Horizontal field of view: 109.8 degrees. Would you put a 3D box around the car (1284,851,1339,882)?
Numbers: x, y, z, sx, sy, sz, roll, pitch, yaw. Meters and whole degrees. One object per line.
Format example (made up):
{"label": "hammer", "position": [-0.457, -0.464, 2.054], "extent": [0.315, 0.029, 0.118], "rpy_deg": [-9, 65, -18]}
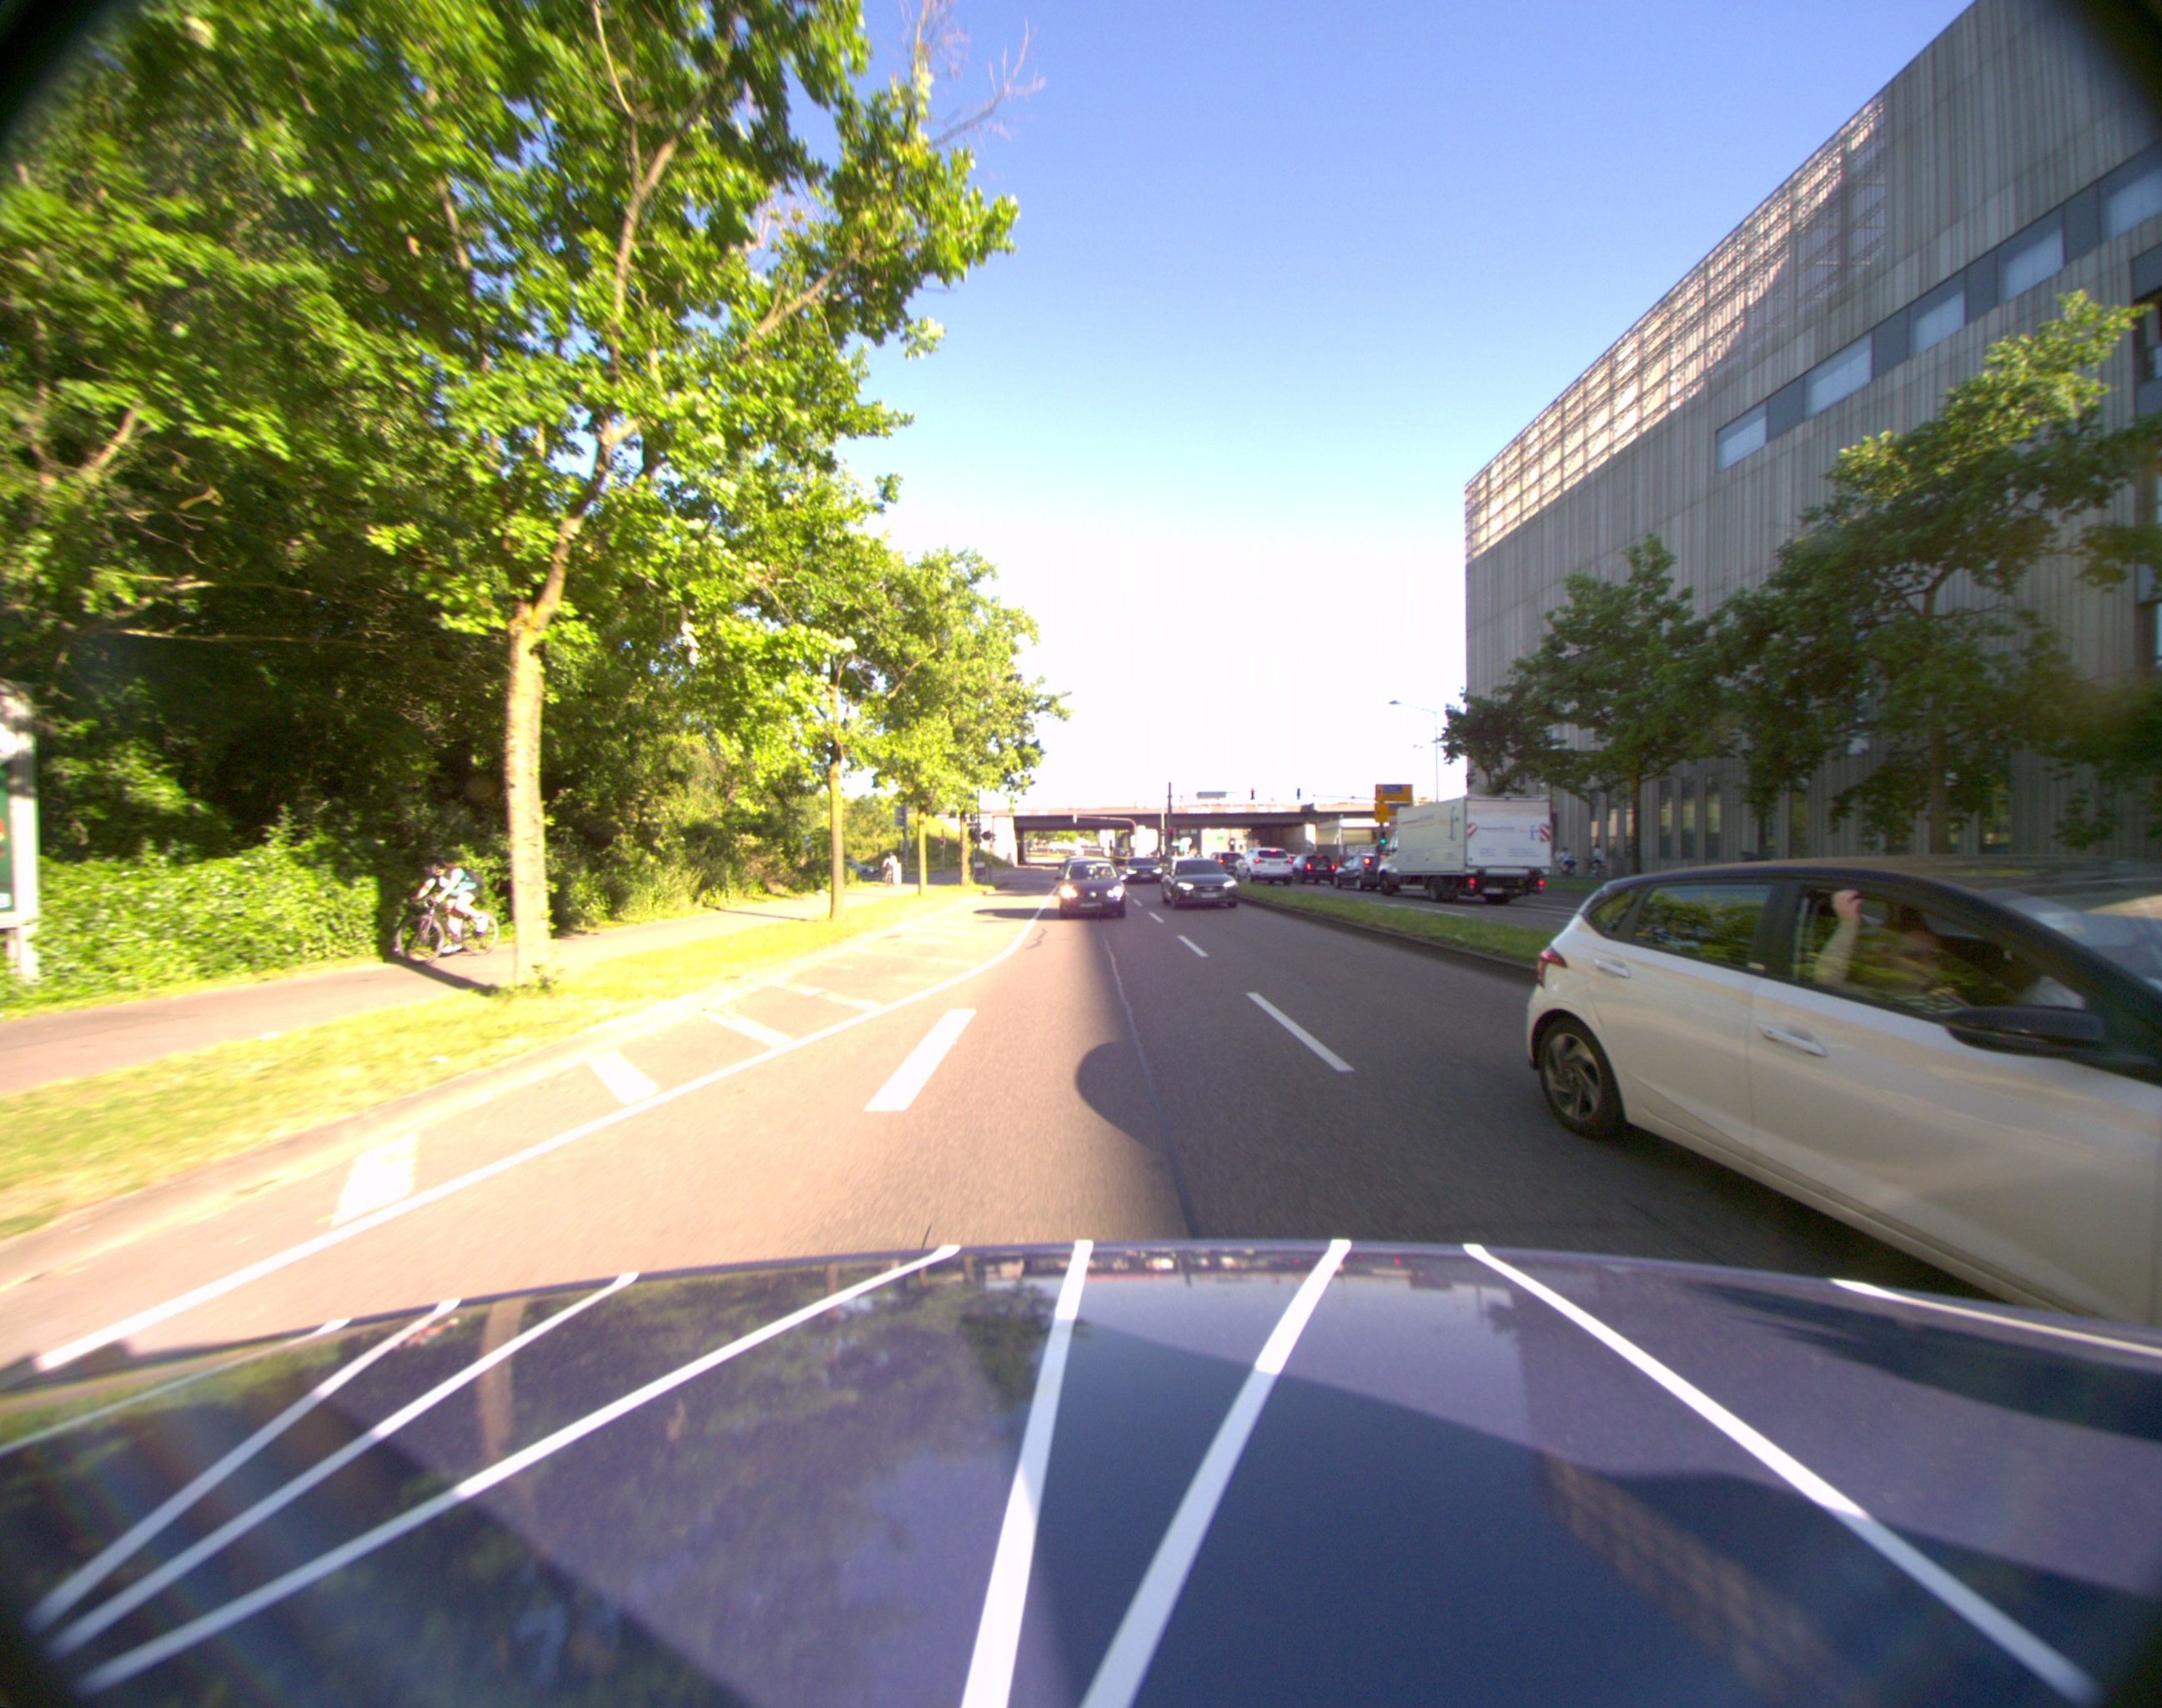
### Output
{"label": "car", "position": [11.330, 0.587, 37.522], "extent": [1.624, 1.461, 3.639], "rpy_deg": [1, 0, 1]}

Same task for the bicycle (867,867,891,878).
{"label": "bicycle", "position": [-12.859, 1.177, 48.346], "extent": [0.844, 0.618, 2.190], "rpy_deg": [1, -1, -34]}

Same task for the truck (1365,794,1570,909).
{"label": "truck", "position": [11.381, -0.099, 23.319], "extent": [2.693, 2.944, 7.113], "rpy_deg": [1, 1, 1]}

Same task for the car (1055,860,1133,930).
{"label": "car", "position": [0.290, 0.929, 18.944], "extent": [1.702, 1.474, 4.052], "rpy_deg": [-2, 0, 0]}

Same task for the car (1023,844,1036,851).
{"label": "car", "position": [-13.506, -1.746, 199.264], "extent": [1.819, 1.687, 3.990], "rpy_deg": [-3, 1, -33]}

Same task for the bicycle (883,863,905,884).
{"label": "bicycle", "position": [-9.207, 0.960, 37.385], "extent": [0.573, 0.986, 2.046], "rpy_deg": [-1, 0, 0]}

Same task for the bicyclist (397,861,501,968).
{"label": "bicyclist", "position": [-9.470, 0.872, 11.434], "extent": [0.687, 1.513, 1.035], "rpy_deg": [-1, 1, -3]}

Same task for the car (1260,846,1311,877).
{"label": "car", "position": [11.660, 0.412, 43.524], "extent": [1.846, 1.647, 3.999], "rpy_deg": [0, 1, 1]}

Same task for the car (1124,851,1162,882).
{"label": "car", "position": [3.261, 0.653, 40.671], "extent": [1.702, 1.529, 3.946], "rpy_deg": [-1, 1, 0]}

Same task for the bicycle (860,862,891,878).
{"label": "bicycle", "position": [-13.708, 1.058, 50.646], "extent": [1.993, 1.047, 0.455], "rpy_deg": [-1, 1, 12]}

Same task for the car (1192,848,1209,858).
{"label": "car", "position": [17.315, -0.206, 110.416], "extent": [1.707, 1.433, 4.880], "rpy_deg": [0, 1, 0]}

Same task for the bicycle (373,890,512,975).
{"label": "bicycle", "position": [-9.499, 1.124, 11.411], "extent": [0.517, 1.066, 1.935], "rpy_deg": [-1, 1, -3]}

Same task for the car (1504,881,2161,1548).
{"label": "car", "position": [3.385, 0.890, 2.398], "extent": [1.783, 1.400, 4.074], "rpy_deg": [-2, 0, 0]}

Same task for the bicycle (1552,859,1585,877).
{"label": "bicycle", "position": [24.887, 0.726, 38.818], "extent": [0.513, 0.885, 1.754], "rpy_deg": [-1, 0, -1]}

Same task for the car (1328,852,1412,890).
{"label": "car", "position": [11.425, 0.646, 30.312], "extent": [1.840, 1.416, 4.000], "rpy_deg": [0, 0, 0]}

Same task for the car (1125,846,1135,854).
{"label": "car", "position": [9.371, -0.817, 146.124], "extent": [1.632, 1.531, 4.000], "rpy_deg": [1, 1, 1]}

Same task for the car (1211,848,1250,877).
{"label": "car", "position": [8.487, 0.477, 43.235], "extent": [1.605, 1.571, 3.212], "rpy_deg": [0, 1, 1]}

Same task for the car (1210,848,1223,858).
{"label": "car", "position": [20.164, -0.168, 113.148], "extent": [1.493, 1.403, 3.939], "rpy_deg": [0, 1, 5]}

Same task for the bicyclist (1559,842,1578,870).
{"label": "bicyclist", "position": [24.883, 0.091, 38.790], "extent": [0.509, 1.434, 0.753], "rpy_deg": [-1, 1, -1]}

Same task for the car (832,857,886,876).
{"label": "car", "position": [-18.731, 1.030, 64.196], "extent": [3.995, 1.467, 1.817], "rpy_deg": [-1, 2, 5]}

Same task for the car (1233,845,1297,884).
{"label": "car", "position": [8.495, 0.447, 35.473], "extent": [1.828, 1.672, 4.658], "rpy_deg": [1, 1, 0]}

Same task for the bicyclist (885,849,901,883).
{"label": "bicyclist", "position": [-9.173, 0.570, 37.076], "extent": [0.566, 1.600, 0.865], "rpy_deg": [-1, 1, 0]}

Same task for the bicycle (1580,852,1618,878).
{"label": "bicycle", "position": [26.212, 0.529, 38.482], "extent": [0.513, 1.262, 2.099], "rpy_deg": [-1, 0, -1]}

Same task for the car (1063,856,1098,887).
{"label": "car", "position": [-0.032, 0.874, 39.807], "extent": [1.702, 1.478, 3.946], "rpy_deg": [-1, 1, 0]}

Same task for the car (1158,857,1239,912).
{"label": "car", "position": [3.357, 0.826, 22.435], "extent": [1.702, 1.396, 4.364], "rpy_deg": [-1, 1, 0]}

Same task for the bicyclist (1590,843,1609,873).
{"label": "bicyclist", "position": [26.207, 0.196, 38.378], "extent": [0.508, 1.498, 0.645], "rpy_deg": [-1, 1, -1]}
